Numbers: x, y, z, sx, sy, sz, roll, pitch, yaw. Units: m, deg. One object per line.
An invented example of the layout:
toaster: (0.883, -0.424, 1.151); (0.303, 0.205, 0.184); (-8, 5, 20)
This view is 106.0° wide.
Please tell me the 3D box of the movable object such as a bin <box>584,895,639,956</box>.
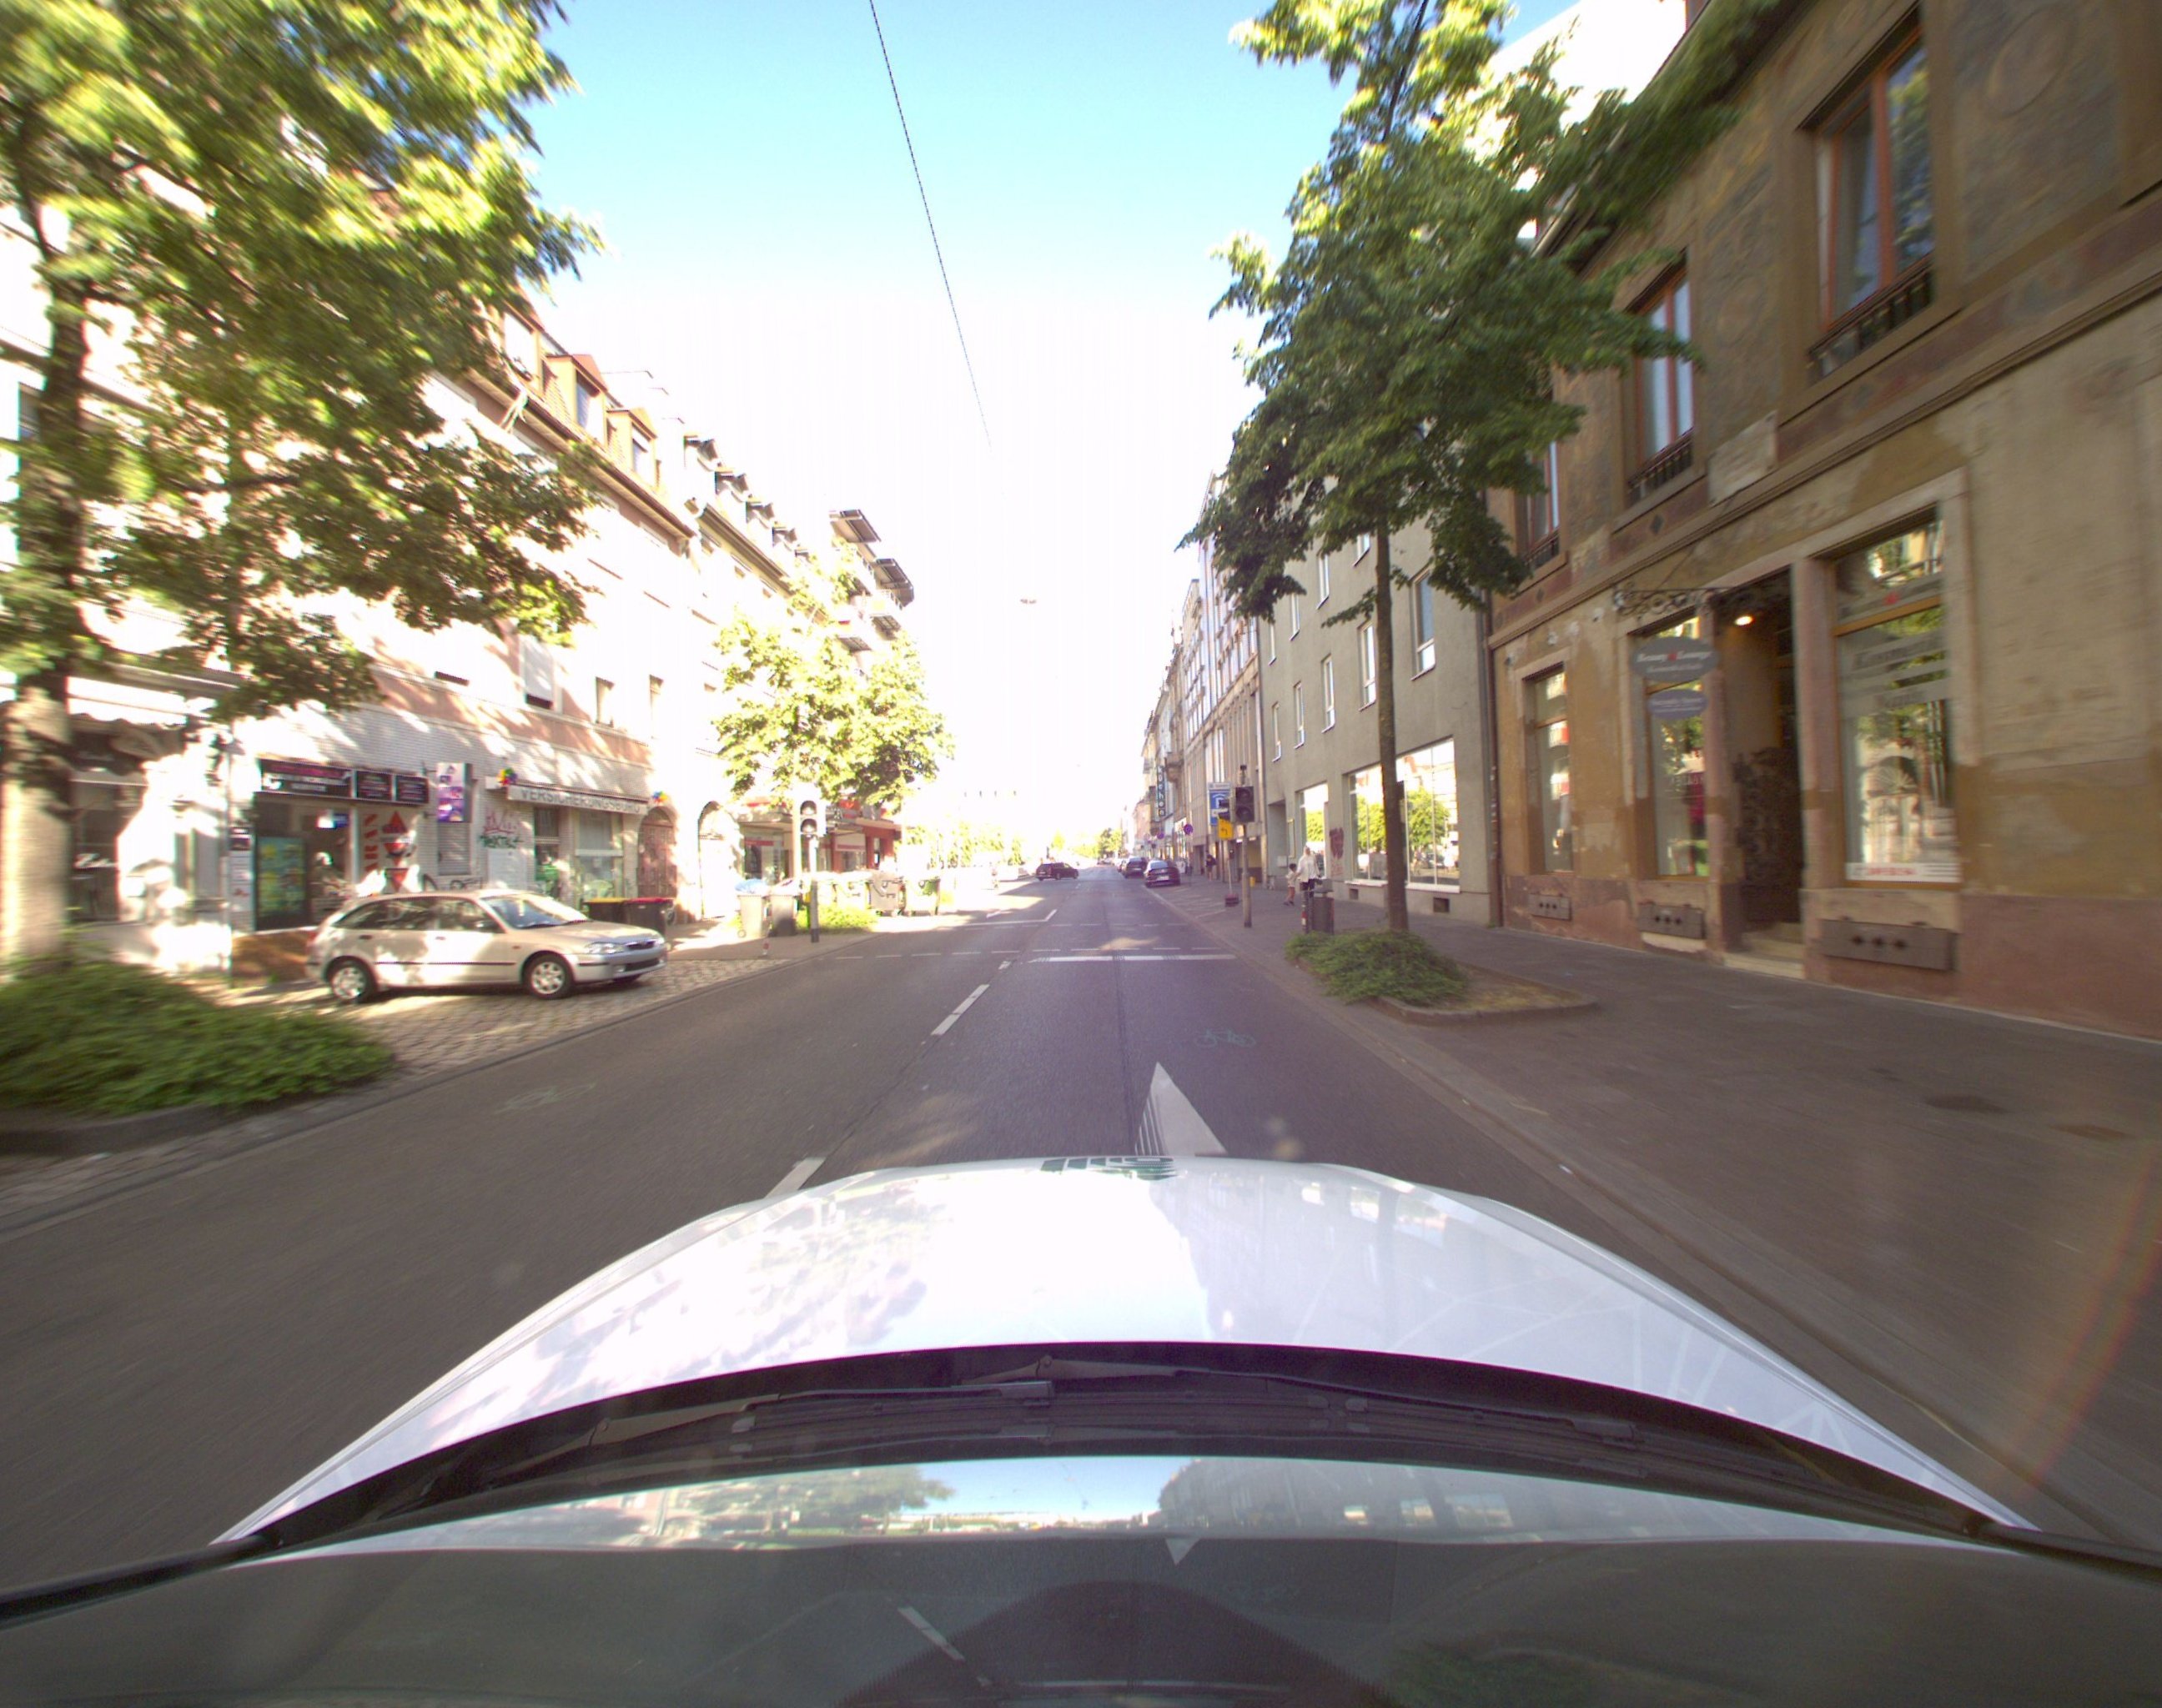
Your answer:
movable object such as a bin: (-8.883, 1.339, 15.442); (0.529, 1.069, 0.805); (-3, -1, 0)

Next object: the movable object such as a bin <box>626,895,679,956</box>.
movable object such as a bin: (-8.130, 1.341, 15.481); (0.529, 1.069, 0.805); (-3, -1, 0)

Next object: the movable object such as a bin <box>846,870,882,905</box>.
movable object such as a bin: (-8.817, 1.351, 33.139); (1.038, 1.345, 1.314); (-3, -1, 0)

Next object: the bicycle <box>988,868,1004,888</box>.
bicycle: (-5.179, 1.455, 49.738); (0.703, 1.146, 1.967); (-3, 0, 1)

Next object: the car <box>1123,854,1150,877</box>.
car: (4.362, 0.855, 64.505); (1.966, 1.725, 4.826); (-1, 0, 2)

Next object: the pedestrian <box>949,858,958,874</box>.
pedestrian: (-17.190, 1.580, 109.544); (0.725, 2.108, 0.973); (-2, -1, 24)

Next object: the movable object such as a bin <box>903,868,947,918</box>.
movable object such as a bin: (-4.948, 1.220, 25.972); (1.038, 1.471, 1.452); (-3, 0, 0)

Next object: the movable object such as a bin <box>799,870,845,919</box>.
movable object such as a bin: (-8.213, 1.271, 25.896); (1.038, 1.471, 1.143); (-3, -1, 0)

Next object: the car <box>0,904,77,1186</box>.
car: (-7.584, 1.064, 3.755); (3.735, 1.468, 1.740); (-2, 0, 1)

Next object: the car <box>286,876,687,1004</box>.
car: (-7.890, 1.113, 11.064); (4.185, 1.468, 1.741); (-2, 0, 3)

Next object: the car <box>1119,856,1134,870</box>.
car: (5.596, 1.148, 100.423); (1.711, 1.636, 4.083); (-1, -1, 0)

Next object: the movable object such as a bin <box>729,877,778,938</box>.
movable object such as a bin: (-7.651, 1.243, 19.071); (0.752, 1.341, 0.805); (-3, -1, 0)

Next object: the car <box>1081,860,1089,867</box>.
car: (1.008, 2.559, 216.102); (1.985, 1.772, 4.003); (-1, 0, 3)

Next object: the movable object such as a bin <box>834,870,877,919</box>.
movable object such as a bin: (-7.163, 1.264, 25.907); (0.960, 1.471, 1.143); (-2, -1, 0)

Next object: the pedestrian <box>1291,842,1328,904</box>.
pedestrian: (6.134, 0.504, 21.887); (0.578, 1.559, 1.020); (-5, -1, 0)

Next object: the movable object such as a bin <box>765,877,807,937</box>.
movable object such as a bin: (-6.925, 1.227, 19.124); (0.632, 1.341, 0.805); (-3, -1, 0)

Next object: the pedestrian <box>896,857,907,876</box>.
pedestrian: (-20.416, 1.436, 92.637); (0.725, 2.108, 0.973); (-2, -1, 24)

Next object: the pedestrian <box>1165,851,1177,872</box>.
pedestrian: (7.419, 0.582, 67.265); (0.797, 1.675, 0.590); (-4, -1, 4)

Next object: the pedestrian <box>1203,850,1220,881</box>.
pedestrian: (6.990, 0.606, 43.680); (0.689, 1.635, 0.889); (-4, 0, 1)

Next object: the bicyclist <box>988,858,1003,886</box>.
bicyclist: (-5.196, 1.084, 49.675); (0.694, 1.653, 1.036); (-3, -1, 1)

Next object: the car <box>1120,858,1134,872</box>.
car: (5.330, 1.210, 94.191); (1.607, 1.546, 2.857); (-1, 0, 3)

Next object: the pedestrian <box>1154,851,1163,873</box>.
pedestrian: (6.410, 0.683, 67.363); (0.617, 1.766, 0.519); (-2, -1, 4)

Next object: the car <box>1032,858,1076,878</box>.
car: (-2.131, 1.132, 65.640); (1.918, 1.487, 4.293); (-2, 0, 21)

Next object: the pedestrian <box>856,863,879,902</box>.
pedestrian: (-9.537, 1.260, 36.424); (0.662, 1.659, 1.037); (-2, 0, 1)

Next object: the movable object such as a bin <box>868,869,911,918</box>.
movable object such as a bin: (-6.081, 1.232, 25.958); (1.038, 1.471, 1.143); (-3, -1, 0)

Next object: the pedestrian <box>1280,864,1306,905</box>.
pedestrian: (5.546, 0.788, 21.334); (0.392, 1.033, 0.740); (-5, -1, 0)

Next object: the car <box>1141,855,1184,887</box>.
car: (4.416, 0.894, 44.965); (1.910, 1.478, 4.966); (-6, 0, 2)
